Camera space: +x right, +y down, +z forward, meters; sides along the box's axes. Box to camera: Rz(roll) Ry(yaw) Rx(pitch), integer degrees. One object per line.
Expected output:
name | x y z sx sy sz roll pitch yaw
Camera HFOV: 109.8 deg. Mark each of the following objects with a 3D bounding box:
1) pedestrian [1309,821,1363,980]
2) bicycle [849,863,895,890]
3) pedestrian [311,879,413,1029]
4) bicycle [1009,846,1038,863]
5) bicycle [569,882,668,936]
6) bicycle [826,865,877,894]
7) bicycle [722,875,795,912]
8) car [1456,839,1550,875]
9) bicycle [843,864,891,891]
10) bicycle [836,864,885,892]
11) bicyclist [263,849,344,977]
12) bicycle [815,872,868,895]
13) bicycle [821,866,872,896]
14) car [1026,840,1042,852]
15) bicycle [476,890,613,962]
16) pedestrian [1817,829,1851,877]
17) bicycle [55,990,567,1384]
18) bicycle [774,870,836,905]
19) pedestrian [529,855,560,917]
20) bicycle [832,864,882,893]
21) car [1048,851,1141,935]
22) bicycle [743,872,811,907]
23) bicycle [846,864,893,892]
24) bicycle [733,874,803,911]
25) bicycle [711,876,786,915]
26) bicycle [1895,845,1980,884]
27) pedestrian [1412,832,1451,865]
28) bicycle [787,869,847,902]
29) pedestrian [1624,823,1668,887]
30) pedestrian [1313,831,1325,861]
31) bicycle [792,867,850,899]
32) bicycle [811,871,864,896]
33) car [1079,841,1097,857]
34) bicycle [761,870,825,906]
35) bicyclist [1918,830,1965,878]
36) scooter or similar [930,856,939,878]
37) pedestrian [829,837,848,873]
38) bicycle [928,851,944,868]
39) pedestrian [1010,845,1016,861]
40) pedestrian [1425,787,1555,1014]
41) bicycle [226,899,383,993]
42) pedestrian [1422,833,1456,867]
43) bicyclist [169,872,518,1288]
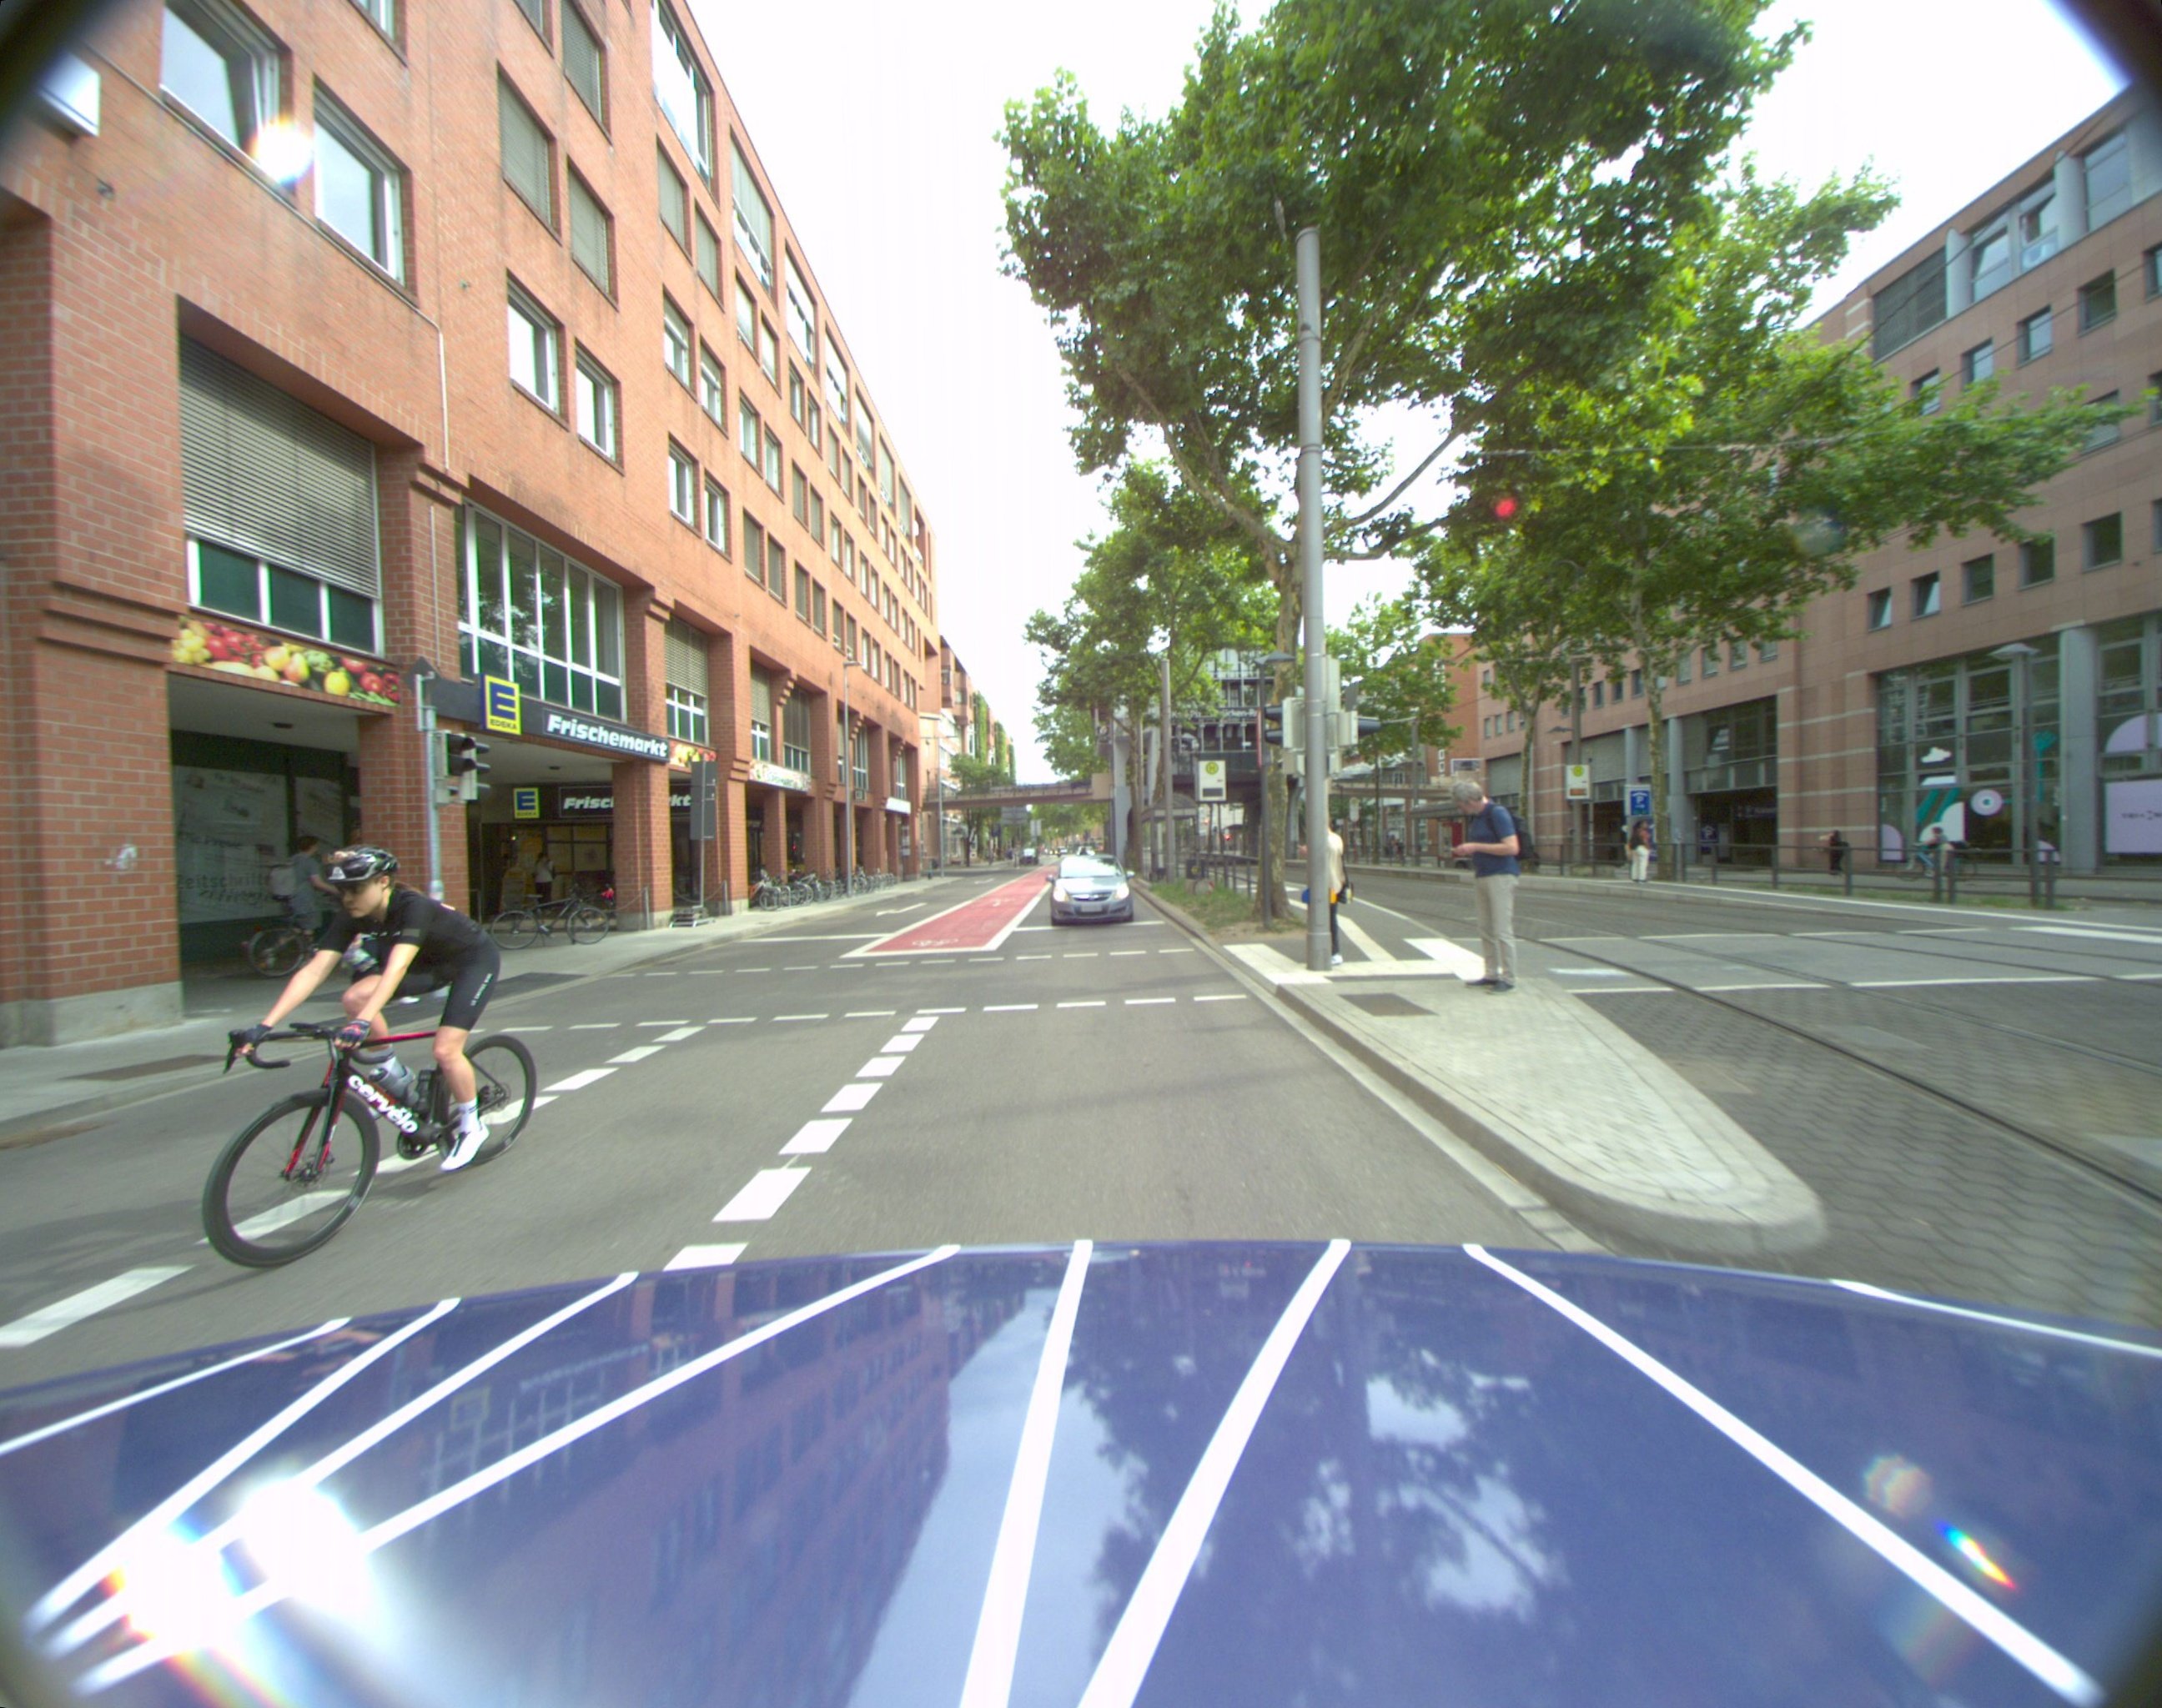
pedestrian | 2.962 0.518 8.810 0.534 1.781 0.578 -1 1 21
bicycle | -9.204 1.005 33.545 1.859 1.134 0.534 -1 1 1
pedestrian | -8.255 1.114 8.747 0.407 1.622 0.732 0 2 8
bicycle | -5.335 0.041 71.014 2.584 1.430 0.769 -1 1 2
bicycle | -10.517 1.225 17.346 0.483 1.078 1.868 2 2 40
bicycle | -9.273 1.017 30.707 1.859 1.134 0.534 -1 1 1
bicycle | -9.347 1.142 22.044 1.859 1.034 0.534 -1 1 1
car | 19.148 0.105 34.690 1.868 1.464 4.295 -2 1 -1
bicycle | -9.123 1.000 32.423 1.859 1.134 0.534 -1 1 1
bicycle | -9.238 1.005 31.822 1.859 1.134 0.534 -1 1 1
bicyclist | -11.291 0.821 11.034 0.619 1.769 0.767 3 2 40
bicycle | -9.324 1.155 29.615 1.859 0.865 0.534 -1 1 1
bicycle | -9.303 1.060 30.160 1.859 1.134 0.534 -1 1 1
car | -6.872 -1.177 111.379 1.957 1.592 3.999 -1 1 1
bicycle | -9.461 1.232 13.466 0.628 1.078 1.868 2 2 40
pedestrian | 25.244 -0.045 25.488 0.529 1.565 0.601 -1 1 1
bicycle | -3.235 1.305 3.489 0.489 0.995 1.747 -4 1 0
bicycle | -9.269 1.120 25.517 1.859 1.105 0.534 -1 1 1
pedestrian | -14.594 0.859 20.675 0.385 1.630 0.532 -2 1 0
bicycle | -9.201 1.010 31.260 1.859 1.134 0.534 -1 1 1
car | 0.212 0.757 16.757 1.723 1.395 3.998 -3 2 -2
bicycle | -9.359 1.081 23.432 1.859 1.034 0.534 -1 1 1
bicycle | -9.162 1.032 32.973 1.859 1.134 0.534 -1 1 1
bicycle | -9.361 1.146 22.750 1.859 1.034 0.534 -1 1 1
bicycle | -9.364 1.168 21.418 1.859 1.034 0.507 -1 1 1
bicycle | 25.061 0.286 22.265 0.548 1.111 1.588 -2 1 -12
pedestrian | 23.180 -0.390 50.317 1.695 2.002 2.034 -3 1 5
bicycle | -9.159 1.082 26.361 1.859 1.105 0.534 -1 1 1
pedestrian | 14.009 0.014 18.844 0.658 1.529 0.558 -2 3 -3
pedestrian | 13.746 -0.464 43.841 0.482 1.761 0.481 -2 2 -7
bicycle | -9.247 1.033 27.036 1.859 1.105 0.534 -1 1 1
bicycle | -9.273 1.131 28.971 1.859 0.888 0.534 -1 1 1
car | 0.791 -0.589 83.614 1.957 1.592 3.999 -1 1 1
bicycle | -9.363 1.094 24.760 1.859 1.105 0.534 -1 1 1
bicyclist | 25.077 -0.003 22.149 0.552 1.373 0.737 -2 1 -11
scooter or similar | -8.638 0.777 44.729 0.272 1.250 0.921 -1 1 1
pedestrian | -12.066 0.056 37.837 0.614 1.767 0.780 -1 1 1
bicycle | -12.429 0.484 65.226 0.746 1.382 2.979 -2 1 1
pedestrian | -6.852 -0.121 76.540 0.516 1.645 0.612 -1 1 1
pedestrian | 3.562 0.381 6.680 0.693 1.864 0.807 -1 1 1
bicycle | -11.056 1.270 10.902 0.630 1.078 1.748 3 2 -8
pedestrian | 22.337 -0.238 47.423 1.429 2.002 1.361 -3 2 5
bicyclist | -3.237 0.912 3.440 0.613 1.594 0.847 -4 2 0
